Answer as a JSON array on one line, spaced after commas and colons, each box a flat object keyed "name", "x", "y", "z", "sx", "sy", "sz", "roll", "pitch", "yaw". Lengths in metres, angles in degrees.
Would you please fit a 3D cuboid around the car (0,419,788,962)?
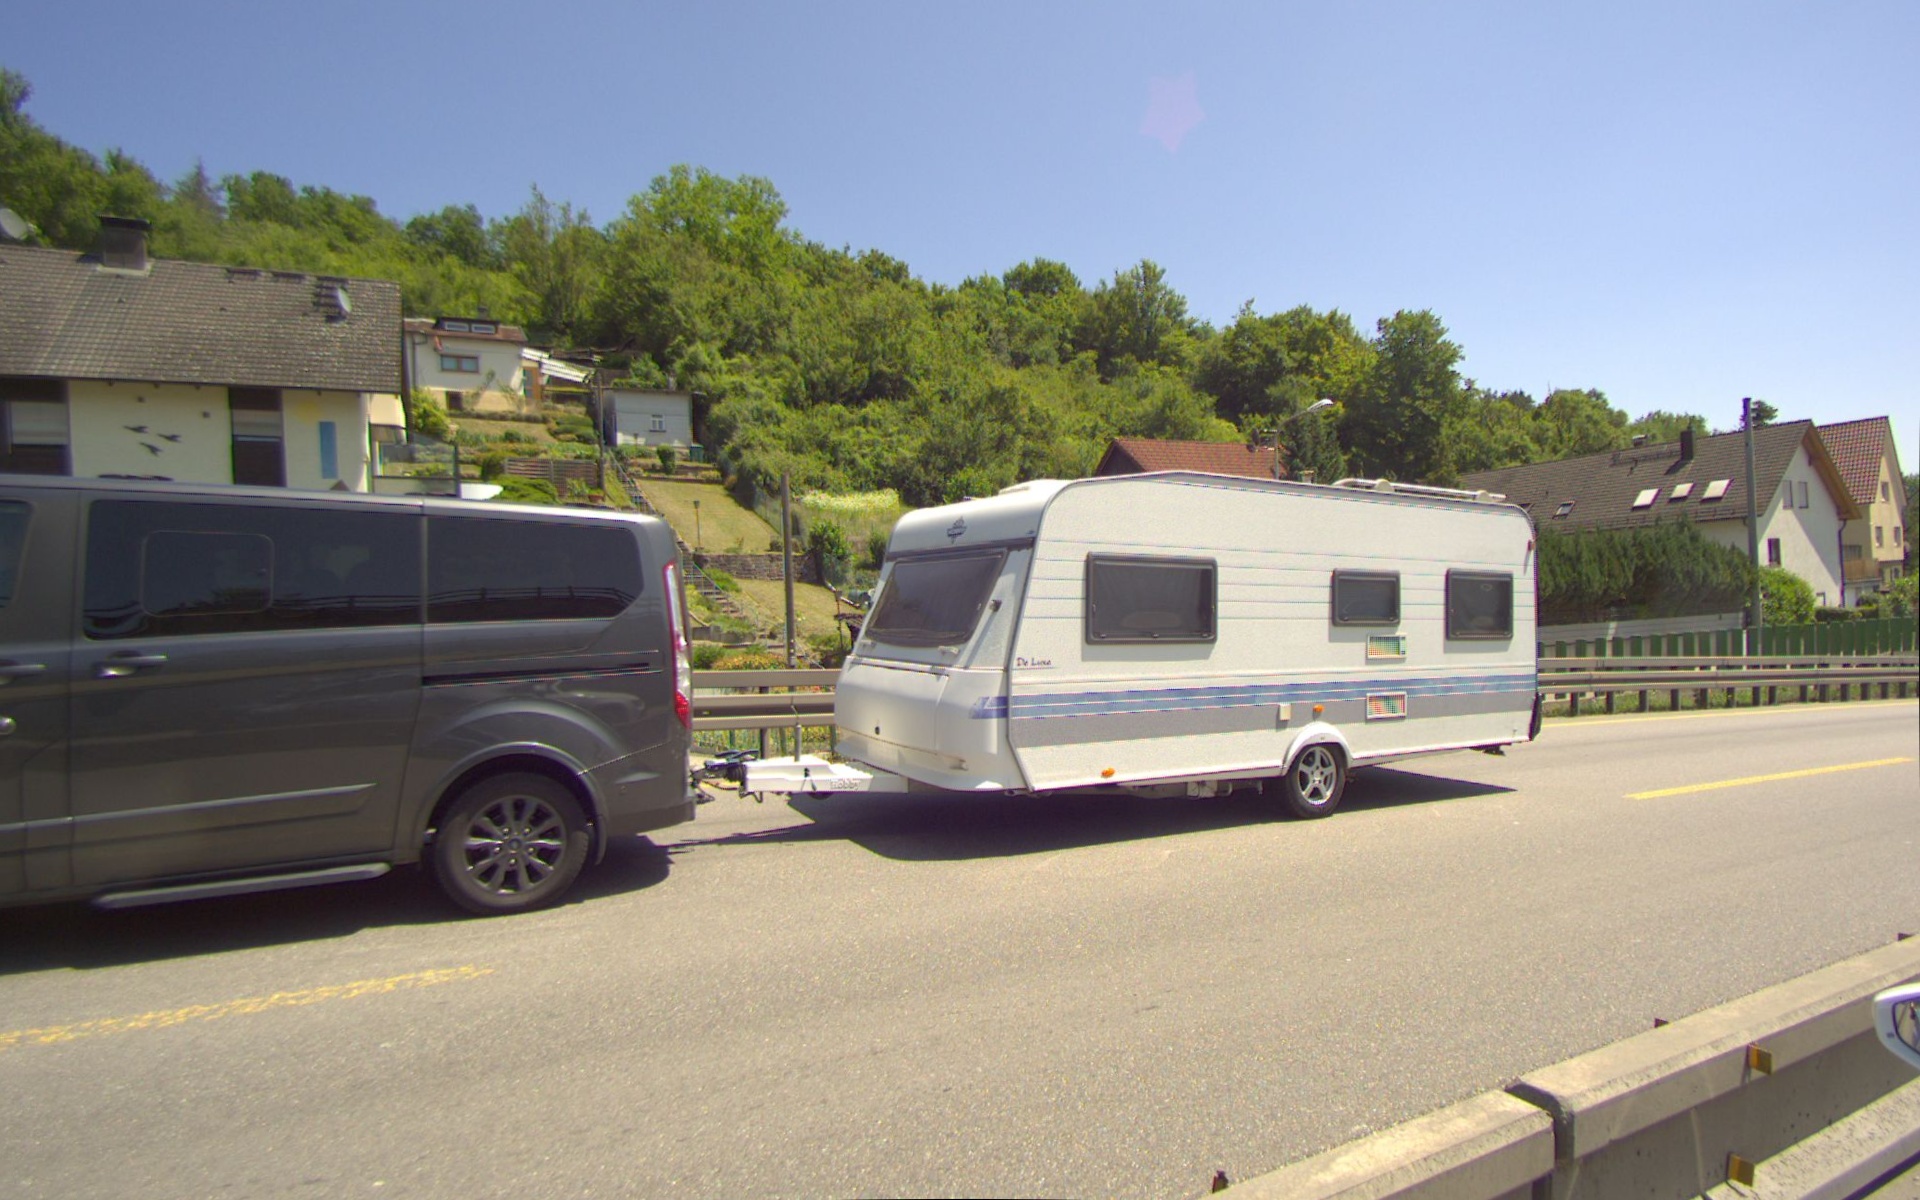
[{"name": "car", "x": -3.544, "y": 0.360, "z": 4.964, "sx": 4.922, "sy": 2.040, "sz": 1.984, "roll": 2, "pitch": -1, "yaw": -30}]

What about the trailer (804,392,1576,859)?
[{"name": "trailer", "x": 2.086, "y": 0.239, "z": 8.344, "sx": 6.168, "sy": 2.623, "sz": 2.587, "roll": 2, "pitch": -1, "yaw": -30}]
